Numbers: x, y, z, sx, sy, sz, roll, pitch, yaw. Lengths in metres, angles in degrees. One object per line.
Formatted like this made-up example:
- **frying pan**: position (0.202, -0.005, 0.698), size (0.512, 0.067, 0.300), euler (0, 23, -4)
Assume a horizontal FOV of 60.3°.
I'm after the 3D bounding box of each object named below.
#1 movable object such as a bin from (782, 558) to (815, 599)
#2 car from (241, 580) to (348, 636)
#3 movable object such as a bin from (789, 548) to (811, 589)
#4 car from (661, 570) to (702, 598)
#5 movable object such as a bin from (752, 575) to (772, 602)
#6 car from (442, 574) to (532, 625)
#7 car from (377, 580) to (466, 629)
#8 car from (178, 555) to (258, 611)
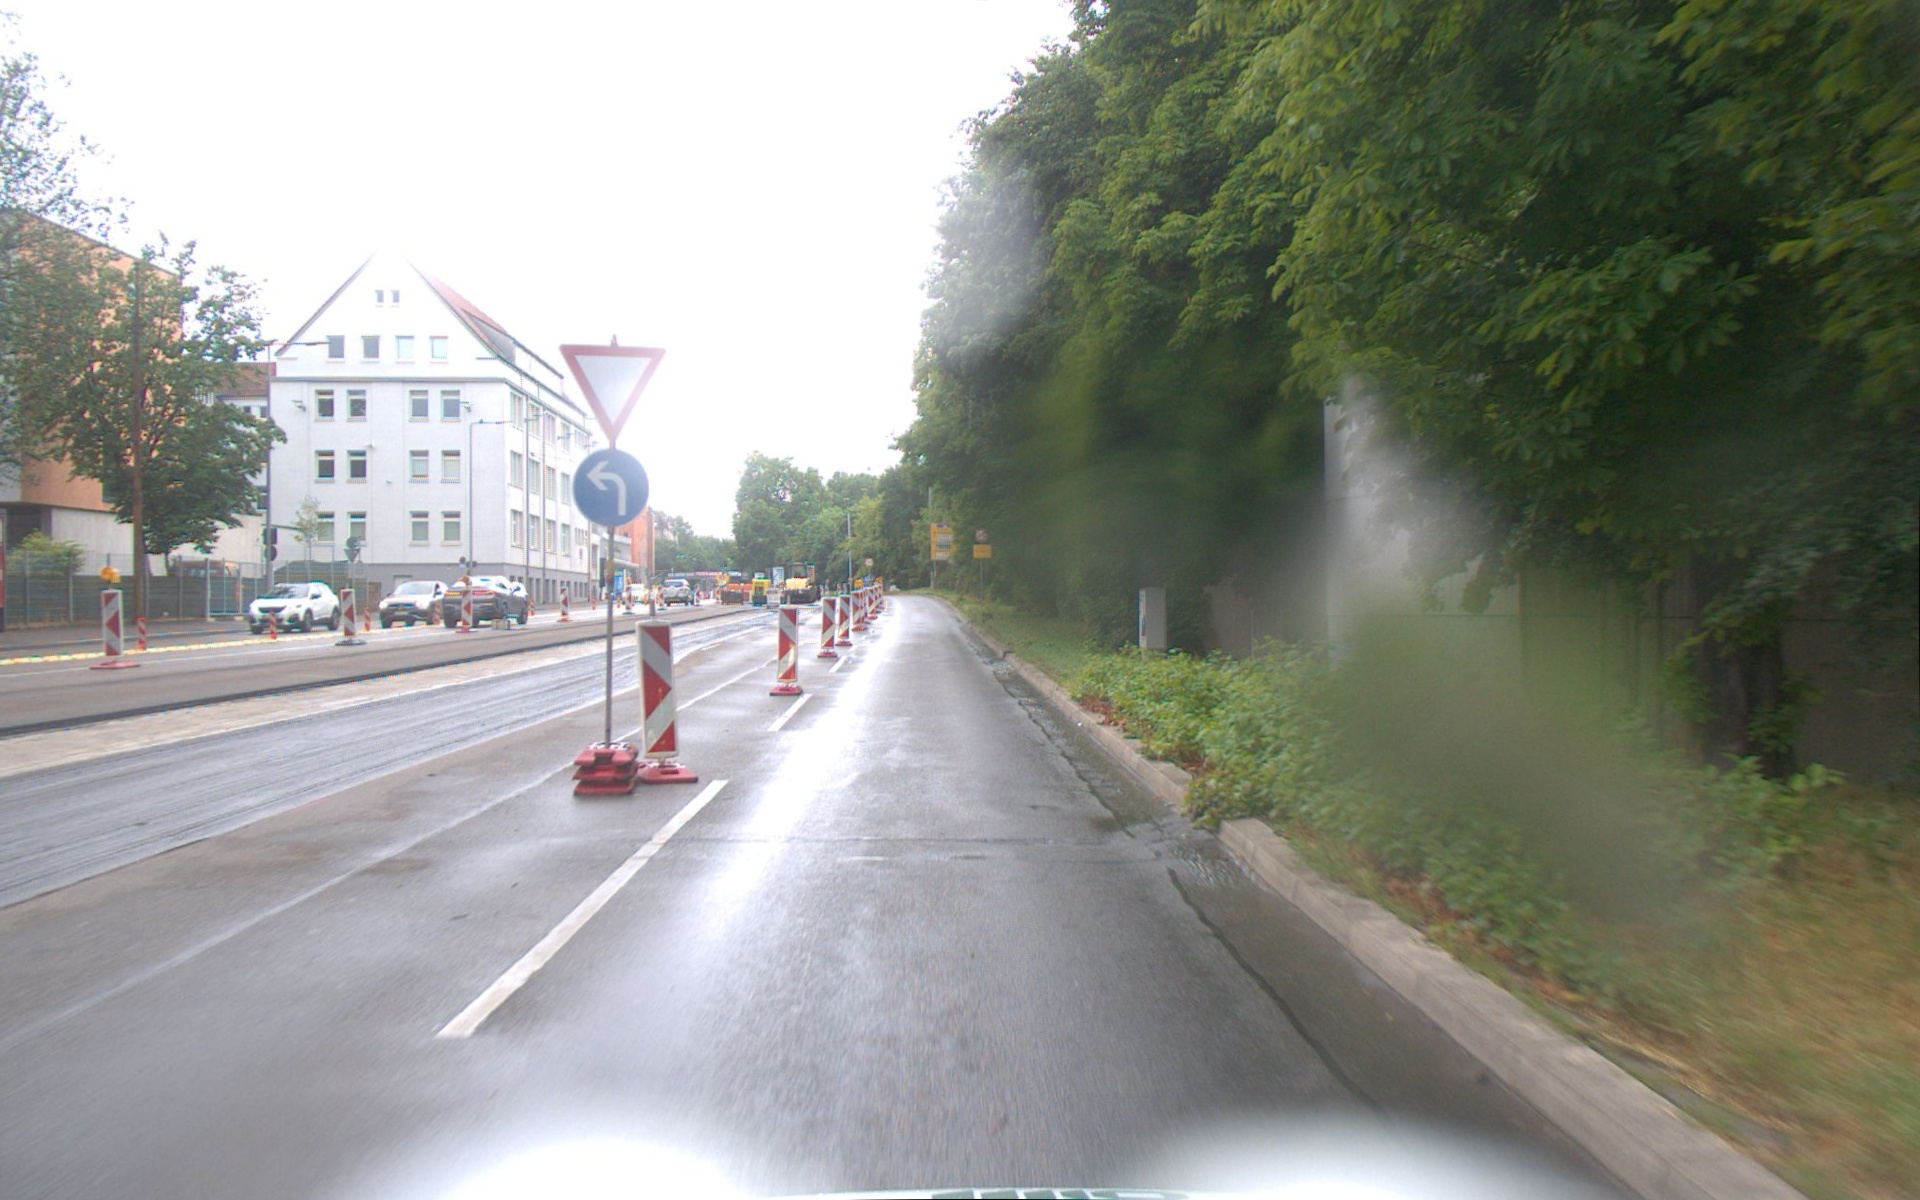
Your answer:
- **movable object such as a bin**: position (-10.964, -1.453, 112.352), size (1.864, 2.654, 5.381), euler (-1, 1, -2)
- **car**: position (-22.217, 0.245, 55.363), size (1.821, 1.735, 4.364), euler (-2, 0, -1)
- **movable object such as a bin**: position (-12.319, -2.455, 127.668), size (1.437, 3.060, 3.722), euler (-2, 1, -3)
- **car**: position (-17.417, -0.985, 103.643), size (1.854, 1.679, 4.395), euler (0, 0, -1)
- **movable object such as a bin**: position (-12.448, -0.709, 103.948), size (1.061, 1.673, 2.438), euler (0, 1, -3)
- **car**: position (-16.020, -0.024, 56.223), size (1.854, 1.679, 4.395), euler (0, 0, -1)
- **car**: position (-19.511, 0.146, 60.091), size (1.821, 1.647, 4.364), euler (-2, 0, -1)
- **car**: position (-30.381, -0.697, 67.831), size (1.578, 2.208, 3.998), euler (0, 1, -2)
